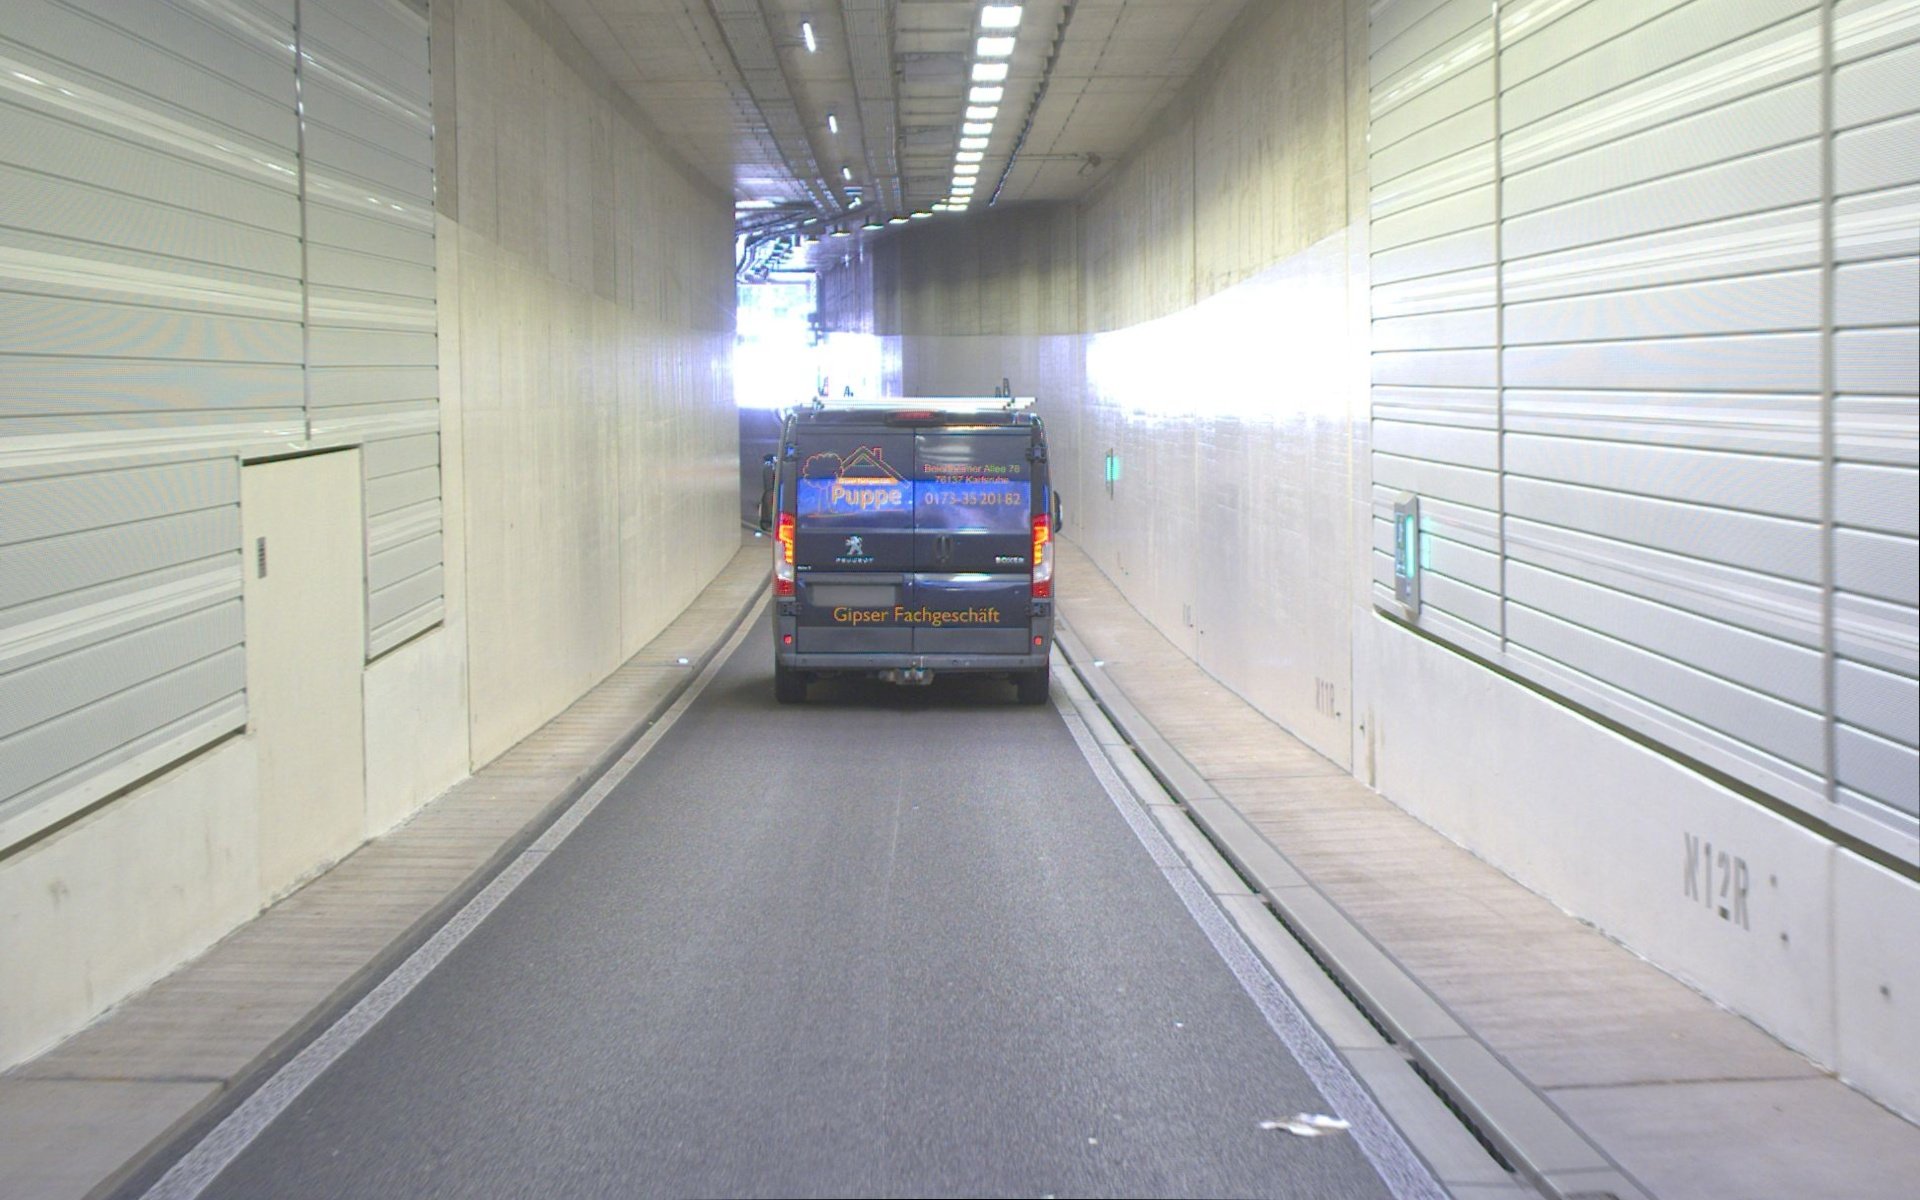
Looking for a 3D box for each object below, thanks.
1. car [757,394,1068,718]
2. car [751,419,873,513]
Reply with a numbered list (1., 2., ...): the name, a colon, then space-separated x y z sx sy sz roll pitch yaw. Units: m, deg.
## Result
1. car: -0.378 -0.397 26.598 2.158 2.258 4.637 1 2 -1
2. car: -2.651 -2.440 61.580 2.085 1.508 4.638 -1 4 -2
